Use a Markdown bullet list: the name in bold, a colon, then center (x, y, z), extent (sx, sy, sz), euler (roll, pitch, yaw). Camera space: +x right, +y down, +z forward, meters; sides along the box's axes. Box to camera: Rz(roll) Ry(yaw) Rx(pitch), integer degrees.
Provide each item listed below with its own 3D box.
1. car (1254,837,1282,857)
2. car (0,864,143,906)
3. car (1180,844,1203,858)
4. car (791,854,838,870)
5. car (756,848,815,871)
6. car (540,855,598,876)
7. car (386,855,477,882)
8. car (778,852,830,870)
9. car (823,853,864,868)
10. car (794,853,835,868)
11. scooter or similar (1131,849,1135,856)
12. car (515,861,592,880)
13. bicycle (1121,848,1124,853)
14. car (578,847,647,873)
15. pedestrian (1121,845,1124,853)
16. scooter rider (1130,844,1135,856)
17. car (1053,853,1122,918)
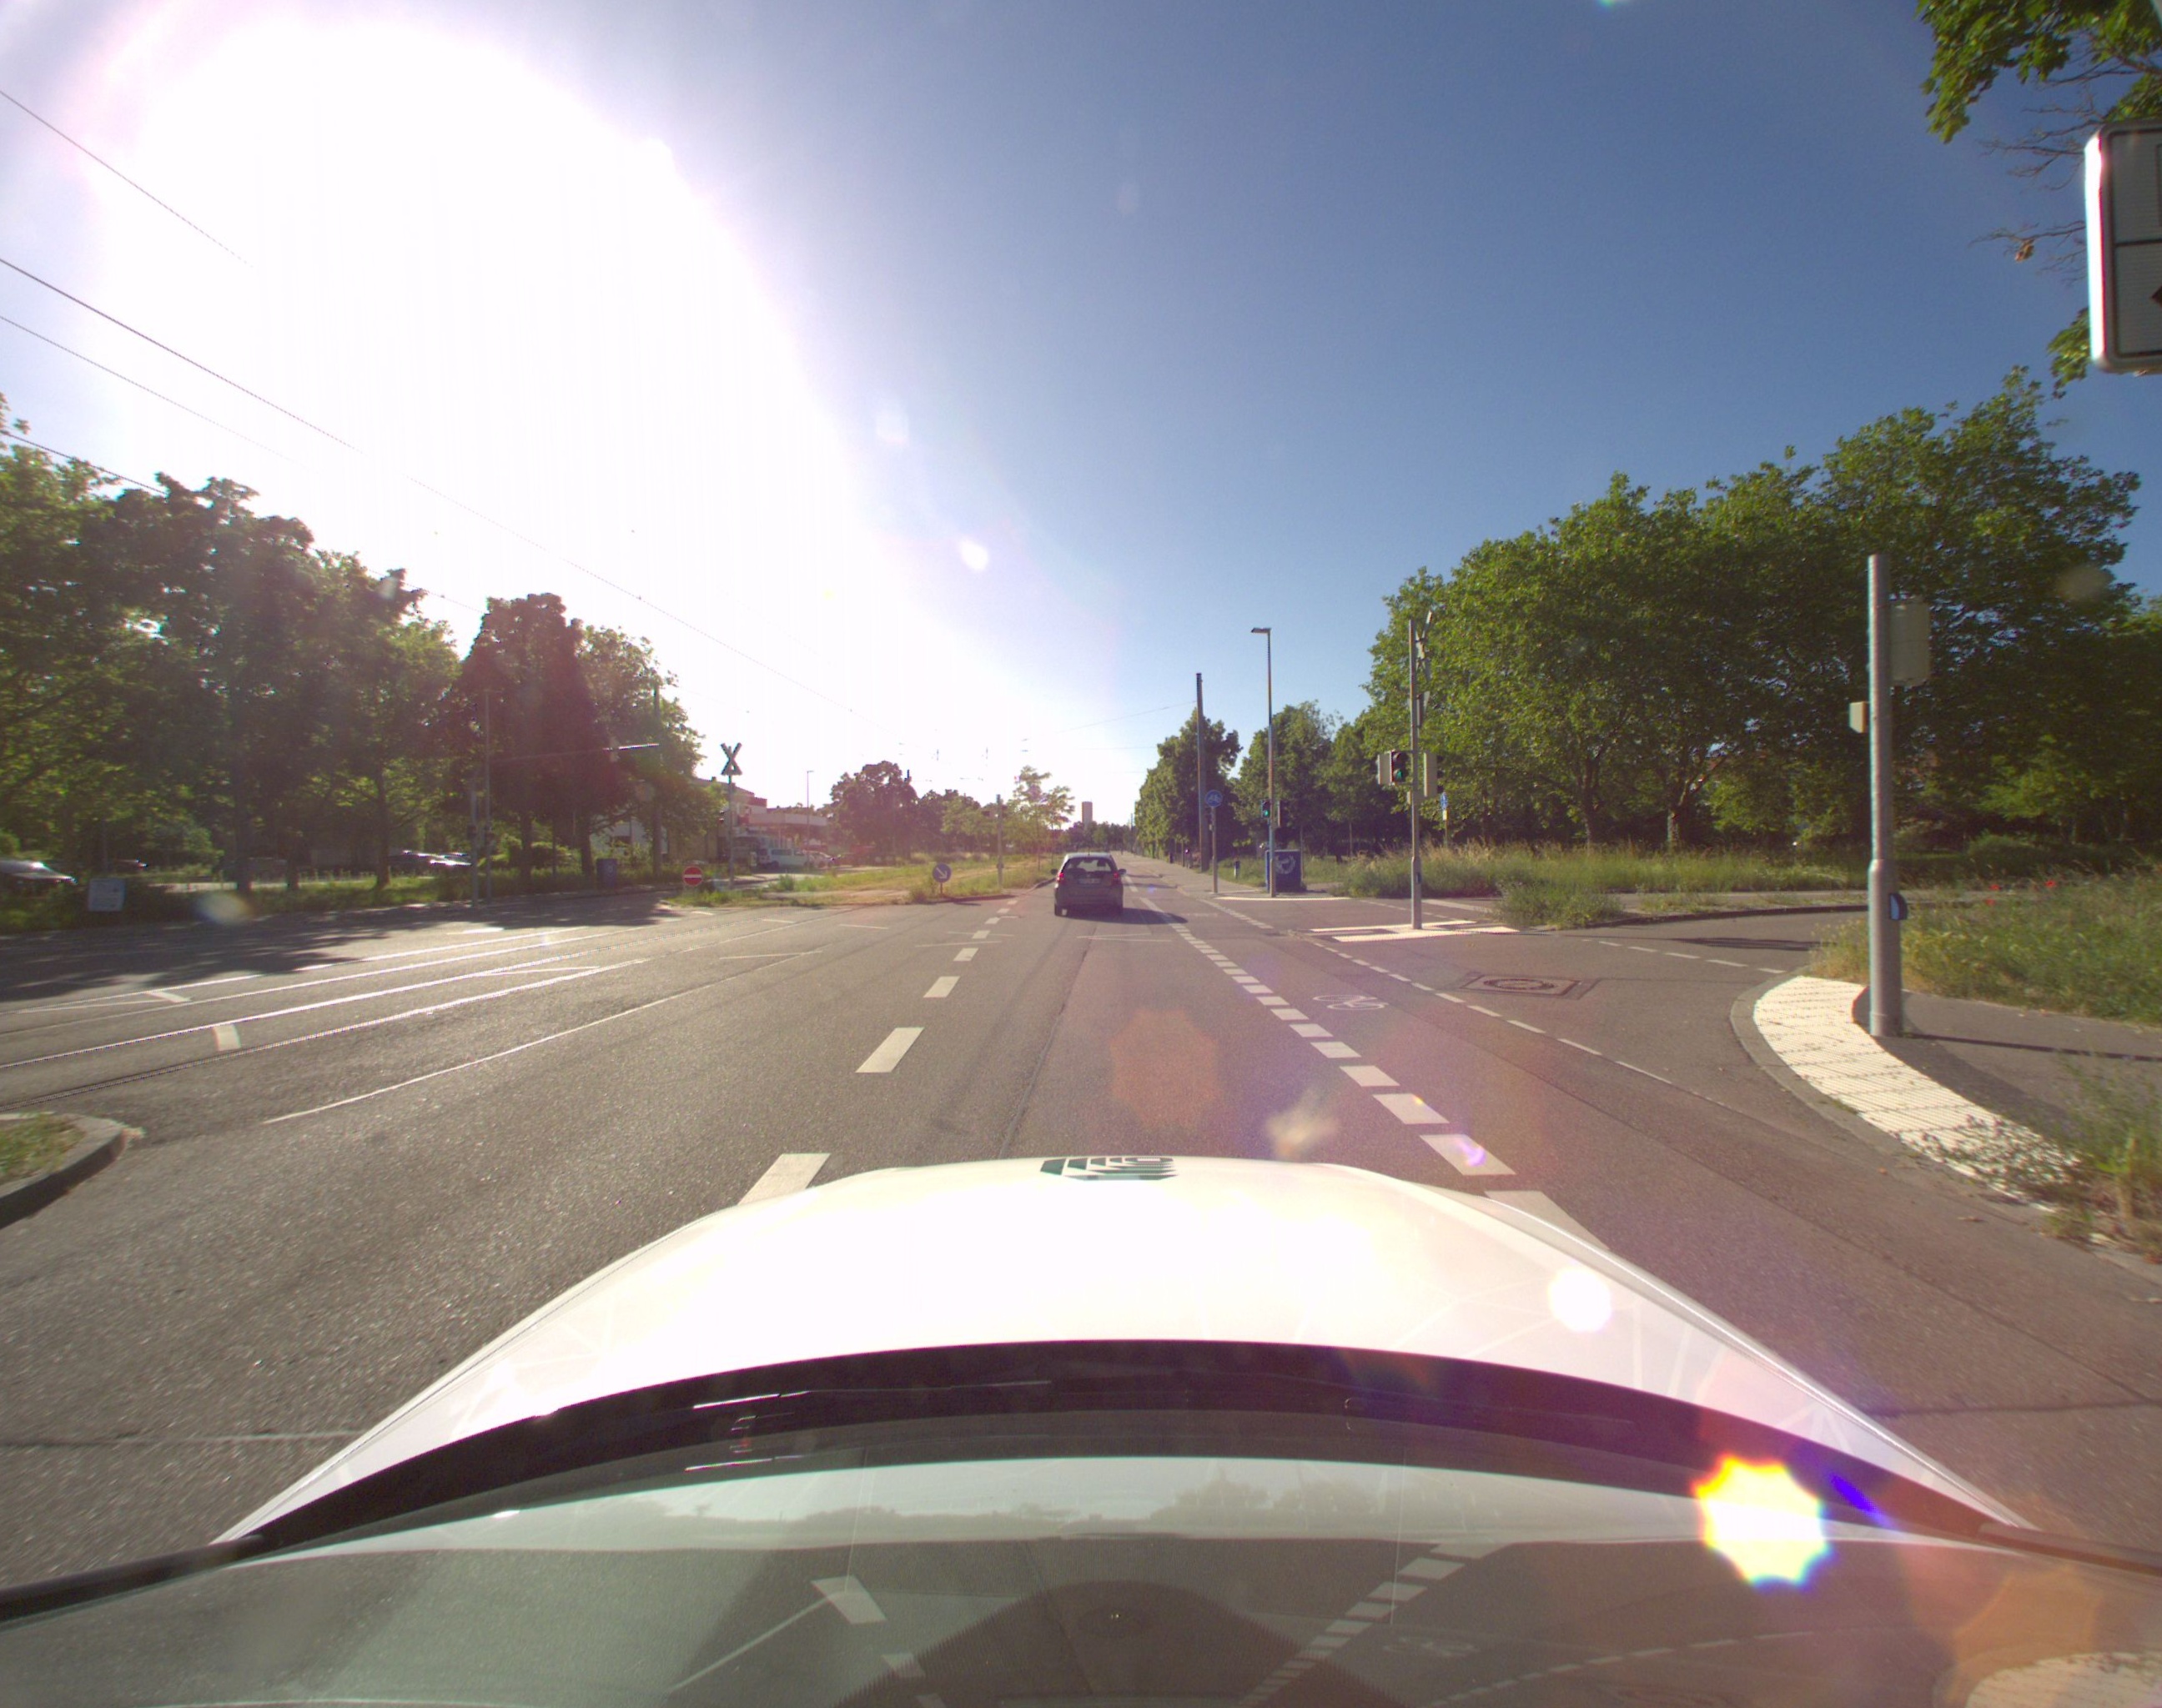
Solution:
- **car**: center (18.861, -0.666, 82.395), extent (1.865, 1.966, 5.169), euler (0, 0, 2)
- **car**: center (-38.283, 1.136, 30.341), extent (3.989, 1.381, 1.866), euler (-1, 1, -12)
- **car**: center (11.190, -0.322, 82.754), extent (1.769, 1.386, 3.868), euler (-2, 0, -1)
- **car**: center (-27.194, 0.837, 83.203), extent (1.769, 1.470, 4.500), euler (-1, 1, 32)
- **car**: center (-27.023, 0.508, 74.617), extent (1.837, 1.974, 4.817), euler (-1, 1, 40)
- **car**: center (-39.274, 0.843, 62.562), extent (1.569, 1.544, 4.095), euler (-1, 0, 6)
- **car**: center (-38.675, 0.843, 48.531), extent (3.956, 1.432, 1.664), euler (-1, 1, -3)
- **car**: center (-26.850, 0.672, 79.136), extent (1.769, 1.528, 4.499), euler (-1, 1, 40)
- **car**: center (-26.559, 0.690, 91.222), extent (4.058, 1.568, 1.792), euler (-1, 0, -1)
- **car**: center (-30.608, 0.762, 93.697), extent (4.058, 1.568, 1.792), euler (-1, 0, -1)
- **scooter or similar**: center (8.263, -0.275, 129.150), extent (0.537, 1.118, 1.417), euler (-1, 0, 0)
- **car**: center (-34.824, 1.069, 53.842), extent (3.955, 1.167, 1.664), euler (-1, 0, -3)
- **bicycle**: center (9.524, -0.767, 186.306), extent (0.510, 1.241, 3.090), euler (-1, 0, 1)
- **car**: center (-40.231, 0.480, 70.048), extent (4.705, 2.091, 2.021), euler (-1, 0, 0)
- **pedestrian**: center (9.505, -1.069, 186.363), extent (0.719, 1.800, 1.165), euler (-1, 0, 1)
- **scooter rider**: center (8.202, -0.673, 128.968), extent (0.714, 1.901, 0.934), euler (-1, 0, 0)
- **car**: center (0.130, 0.730, 20.744), extent (1.619, 1.499, 3.455), euler (0, 0, -1)
